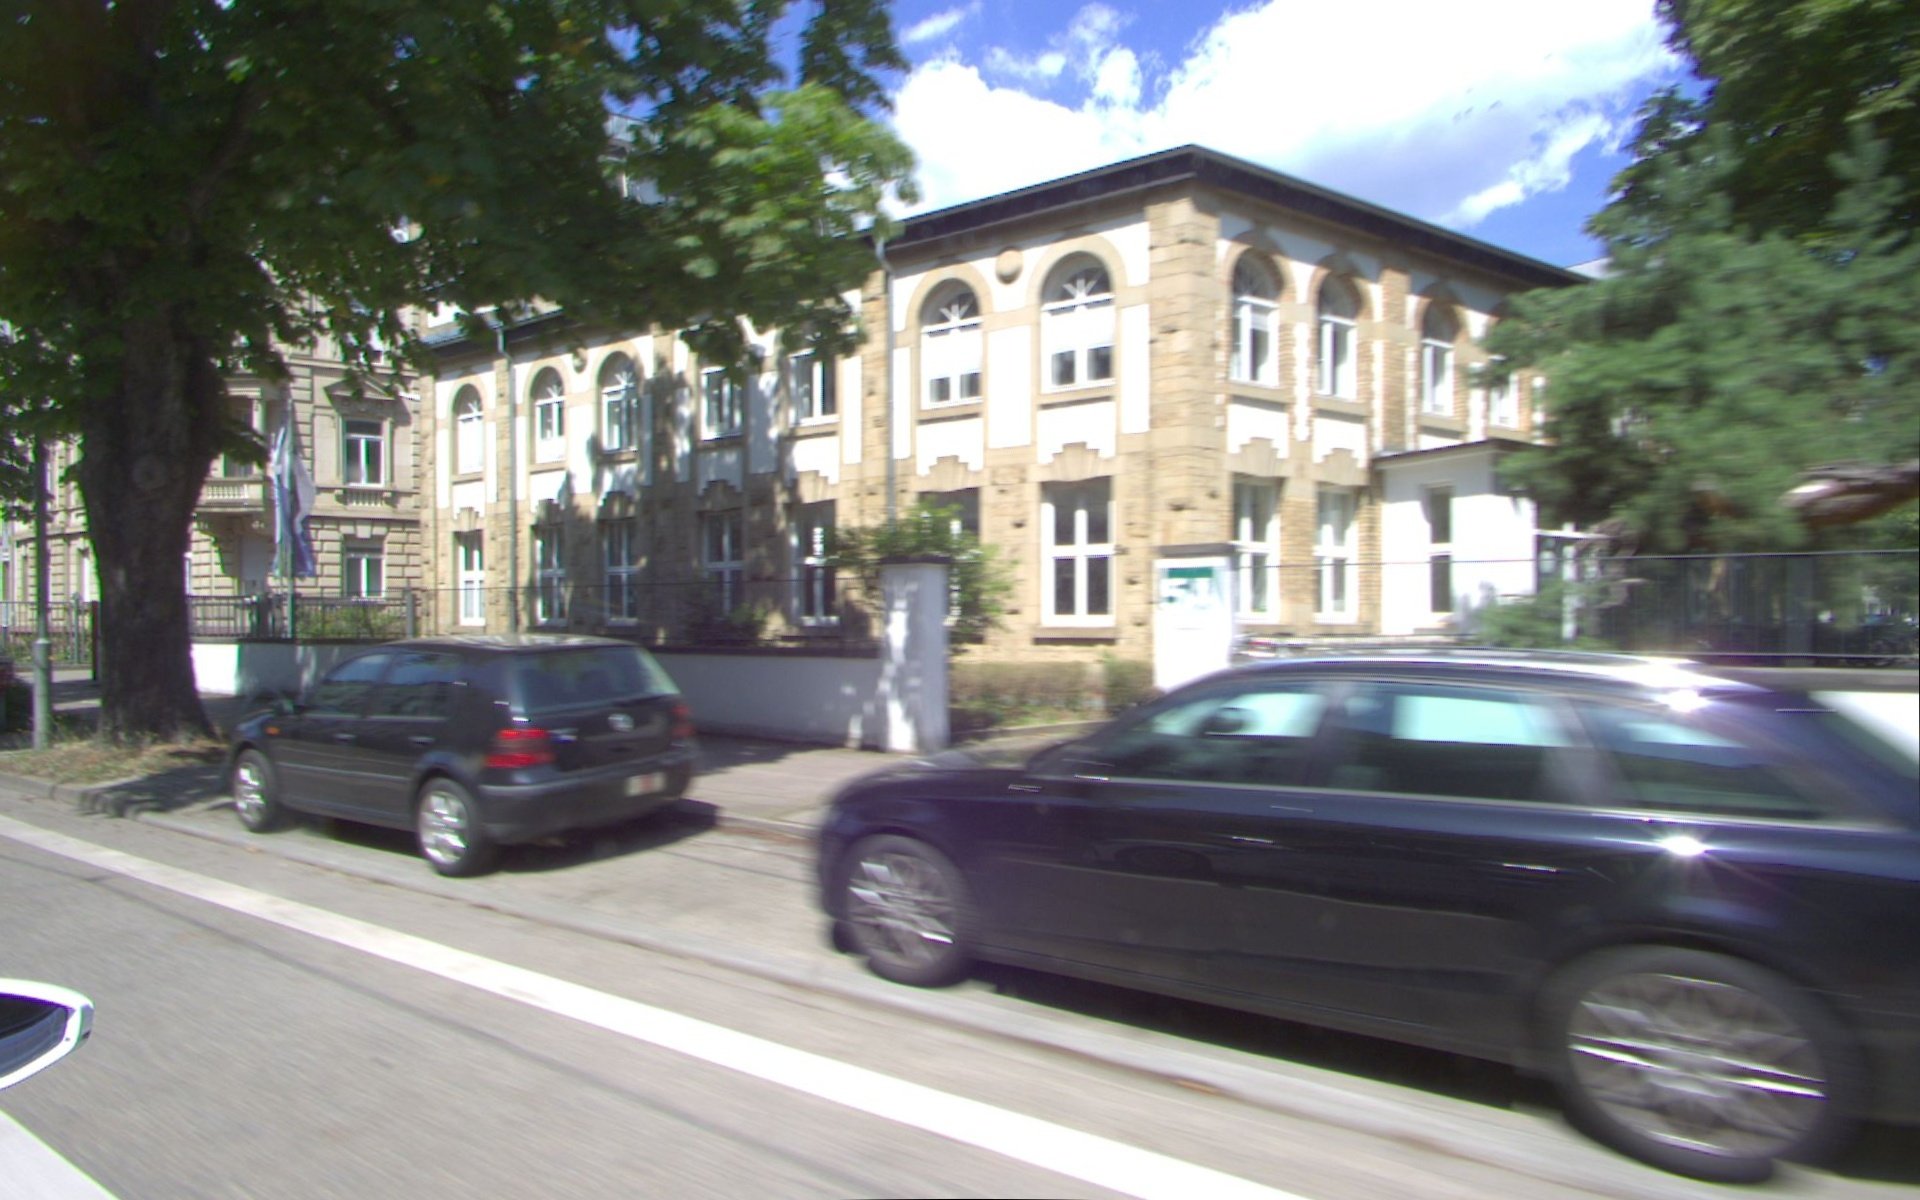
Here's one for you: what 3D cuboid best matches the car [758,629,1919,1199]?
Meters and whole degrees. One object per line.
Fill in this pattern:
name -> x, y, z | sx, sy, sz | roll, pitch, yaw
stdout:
car -> 1.444, 0.874, 4.215 | 4.463, 1.474, 1.873 | -1, -1, 32

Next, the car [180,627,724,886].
car -> -3.899, 0.937, 7.495 | 4.182, 1.442, 1.708 | -1, -1, 31
